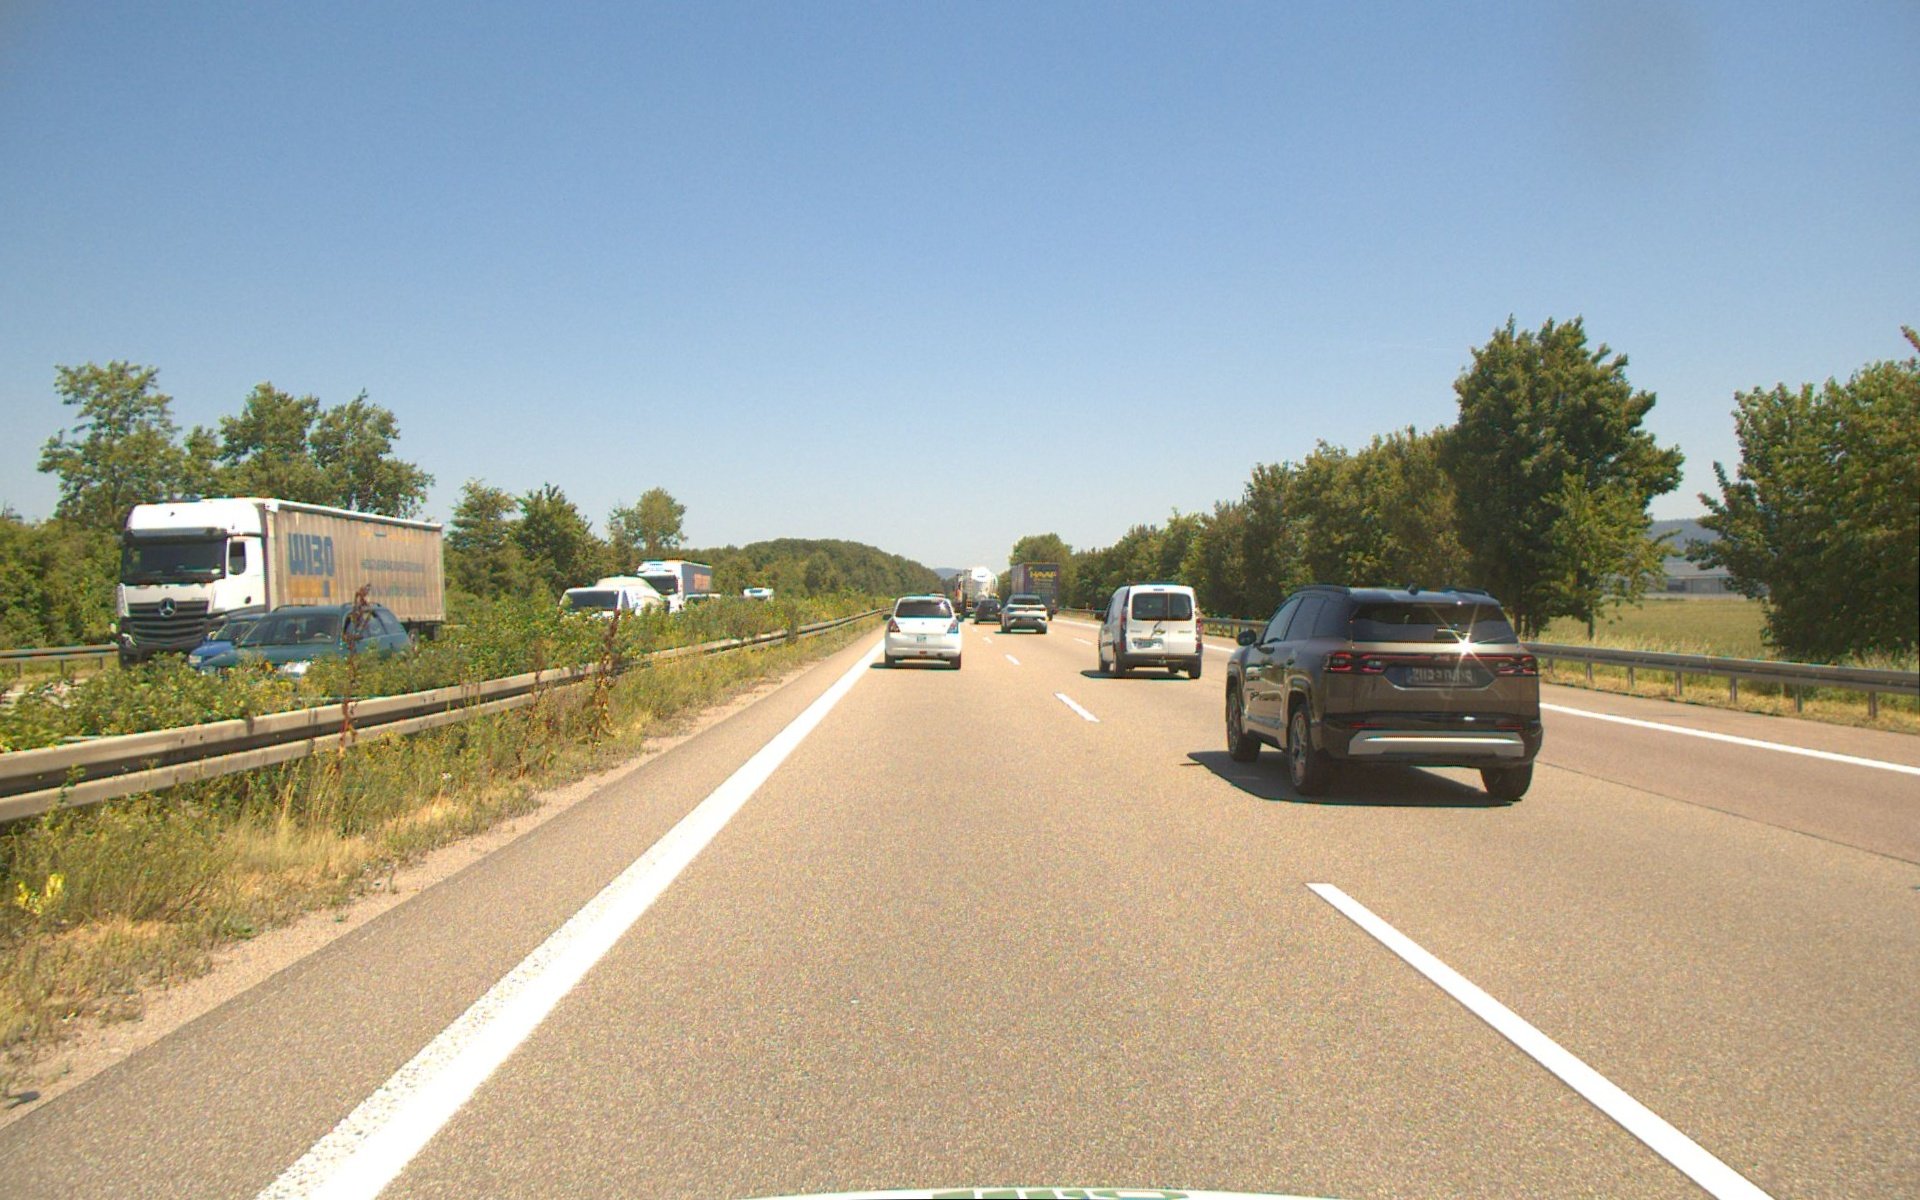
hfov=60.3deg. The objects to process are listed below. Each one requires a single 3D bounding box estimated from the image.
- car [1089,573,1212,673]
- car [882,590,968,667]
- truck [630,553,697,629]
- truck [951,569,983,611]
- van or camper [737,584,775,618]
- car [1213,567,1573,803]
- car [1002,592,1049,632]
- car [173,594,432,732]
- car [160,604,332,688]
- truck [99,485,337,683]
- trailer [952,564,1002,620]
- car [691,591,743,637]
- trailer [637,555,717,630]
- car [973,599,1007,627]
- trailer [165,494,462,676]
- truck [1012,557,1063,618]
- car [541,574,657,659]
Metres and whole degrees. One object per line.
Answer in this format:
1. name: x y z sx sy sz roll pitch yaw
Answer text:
1. car: 3.868 0.451 34.273 1.816 1.895 4.700 1 0 -2
2. car: -0.782 0.591 36.526 1.763 1.579 3.609 1 0 -2
3. truck: -17.926 -0.474 100.357 2.945 4.285 6.309 -1 -2 -1
4. truck: 0.729 -1.060 177.743 3.325 4.287 12.082 1 0 0
5. van or camper: -19.392 0.085 157.472 2.792 3.021 7.445 -2 0 -1
6. car: 3.580 0.633 14.633 1.829 1.704 4.745 1 0 -1
7. car: 2.794 0.500 71.348 1.766 1.631 4.380 1 0 -1
8. car: -9.179 0.812 23.572 1.920 1.723 4.800 1 0 -3
9. car: -13.419 0.825 31.320 1.540 1.410 3.966 -3 0 -1
10. truck: -17.230 -0.352 38.908 2.701 4.174 6.151 -2 0 -1
11. trailer: 1.270 -0.602 130.284 2.854 4.140 12.407 1 0 -4
12. car: -11.631 0.668 79.454 1.954 2.109 4.710 1 0 -3
13. trailer: -17.997 -0.310 106.183 2.917 4.285 13.731 -1 -2 -1
14. car: 1.694 0.720 95.582 1.813 1.549 3.956 1 0 -1
15. trailer: -17.315 -0.351 45.908 2.701 4.174 14.050 -2 0 -1
16. truck: 5.767 -0.881 125.063 3.045 4.211 15.510 1 0 0
17. car: -9.462 0.407 43.781 1.953 2.066 5.489 1 0 -1
